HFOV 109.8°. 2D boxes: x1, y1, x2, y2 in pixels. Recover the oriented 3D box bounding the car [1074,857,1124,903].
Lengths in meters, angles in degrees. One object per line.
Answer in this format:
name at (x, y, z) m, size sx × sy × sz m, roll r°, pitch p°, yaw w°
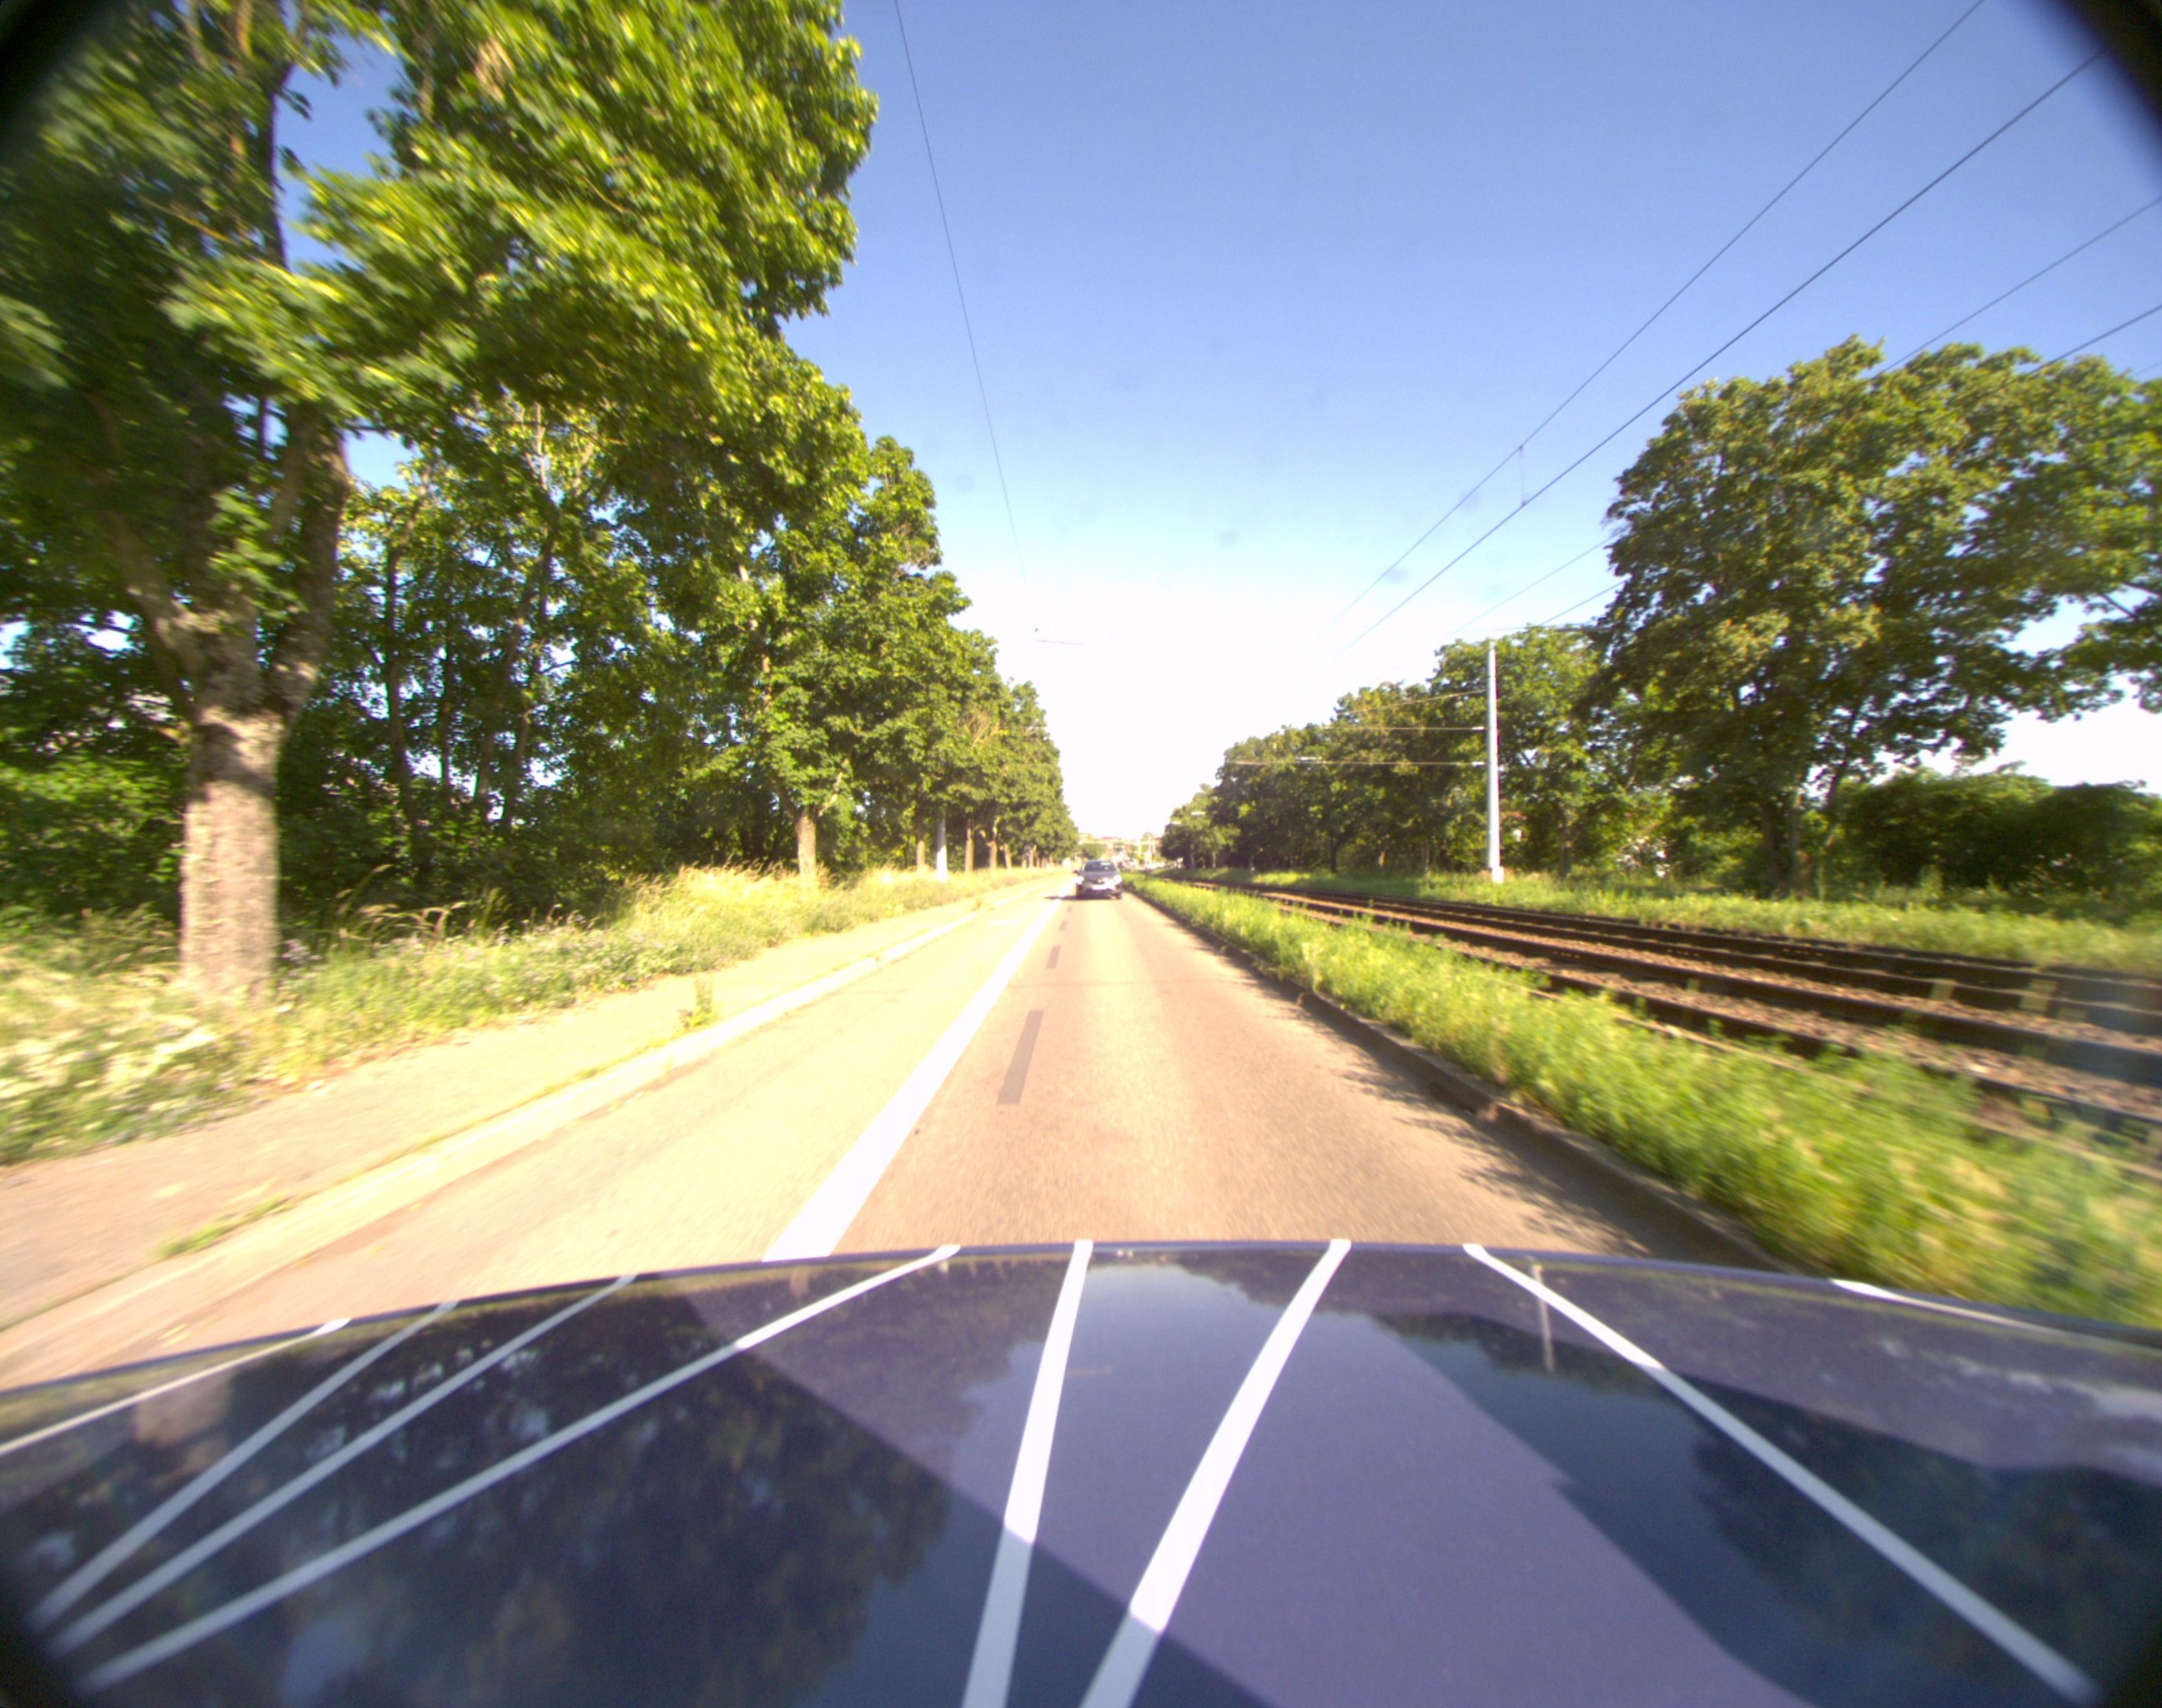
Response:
car at (0.709, 0.957, 29.995) m, size 1.814 × 1.625 × 4.710 m, roll 0°, pitch 0°, yaw 1°
